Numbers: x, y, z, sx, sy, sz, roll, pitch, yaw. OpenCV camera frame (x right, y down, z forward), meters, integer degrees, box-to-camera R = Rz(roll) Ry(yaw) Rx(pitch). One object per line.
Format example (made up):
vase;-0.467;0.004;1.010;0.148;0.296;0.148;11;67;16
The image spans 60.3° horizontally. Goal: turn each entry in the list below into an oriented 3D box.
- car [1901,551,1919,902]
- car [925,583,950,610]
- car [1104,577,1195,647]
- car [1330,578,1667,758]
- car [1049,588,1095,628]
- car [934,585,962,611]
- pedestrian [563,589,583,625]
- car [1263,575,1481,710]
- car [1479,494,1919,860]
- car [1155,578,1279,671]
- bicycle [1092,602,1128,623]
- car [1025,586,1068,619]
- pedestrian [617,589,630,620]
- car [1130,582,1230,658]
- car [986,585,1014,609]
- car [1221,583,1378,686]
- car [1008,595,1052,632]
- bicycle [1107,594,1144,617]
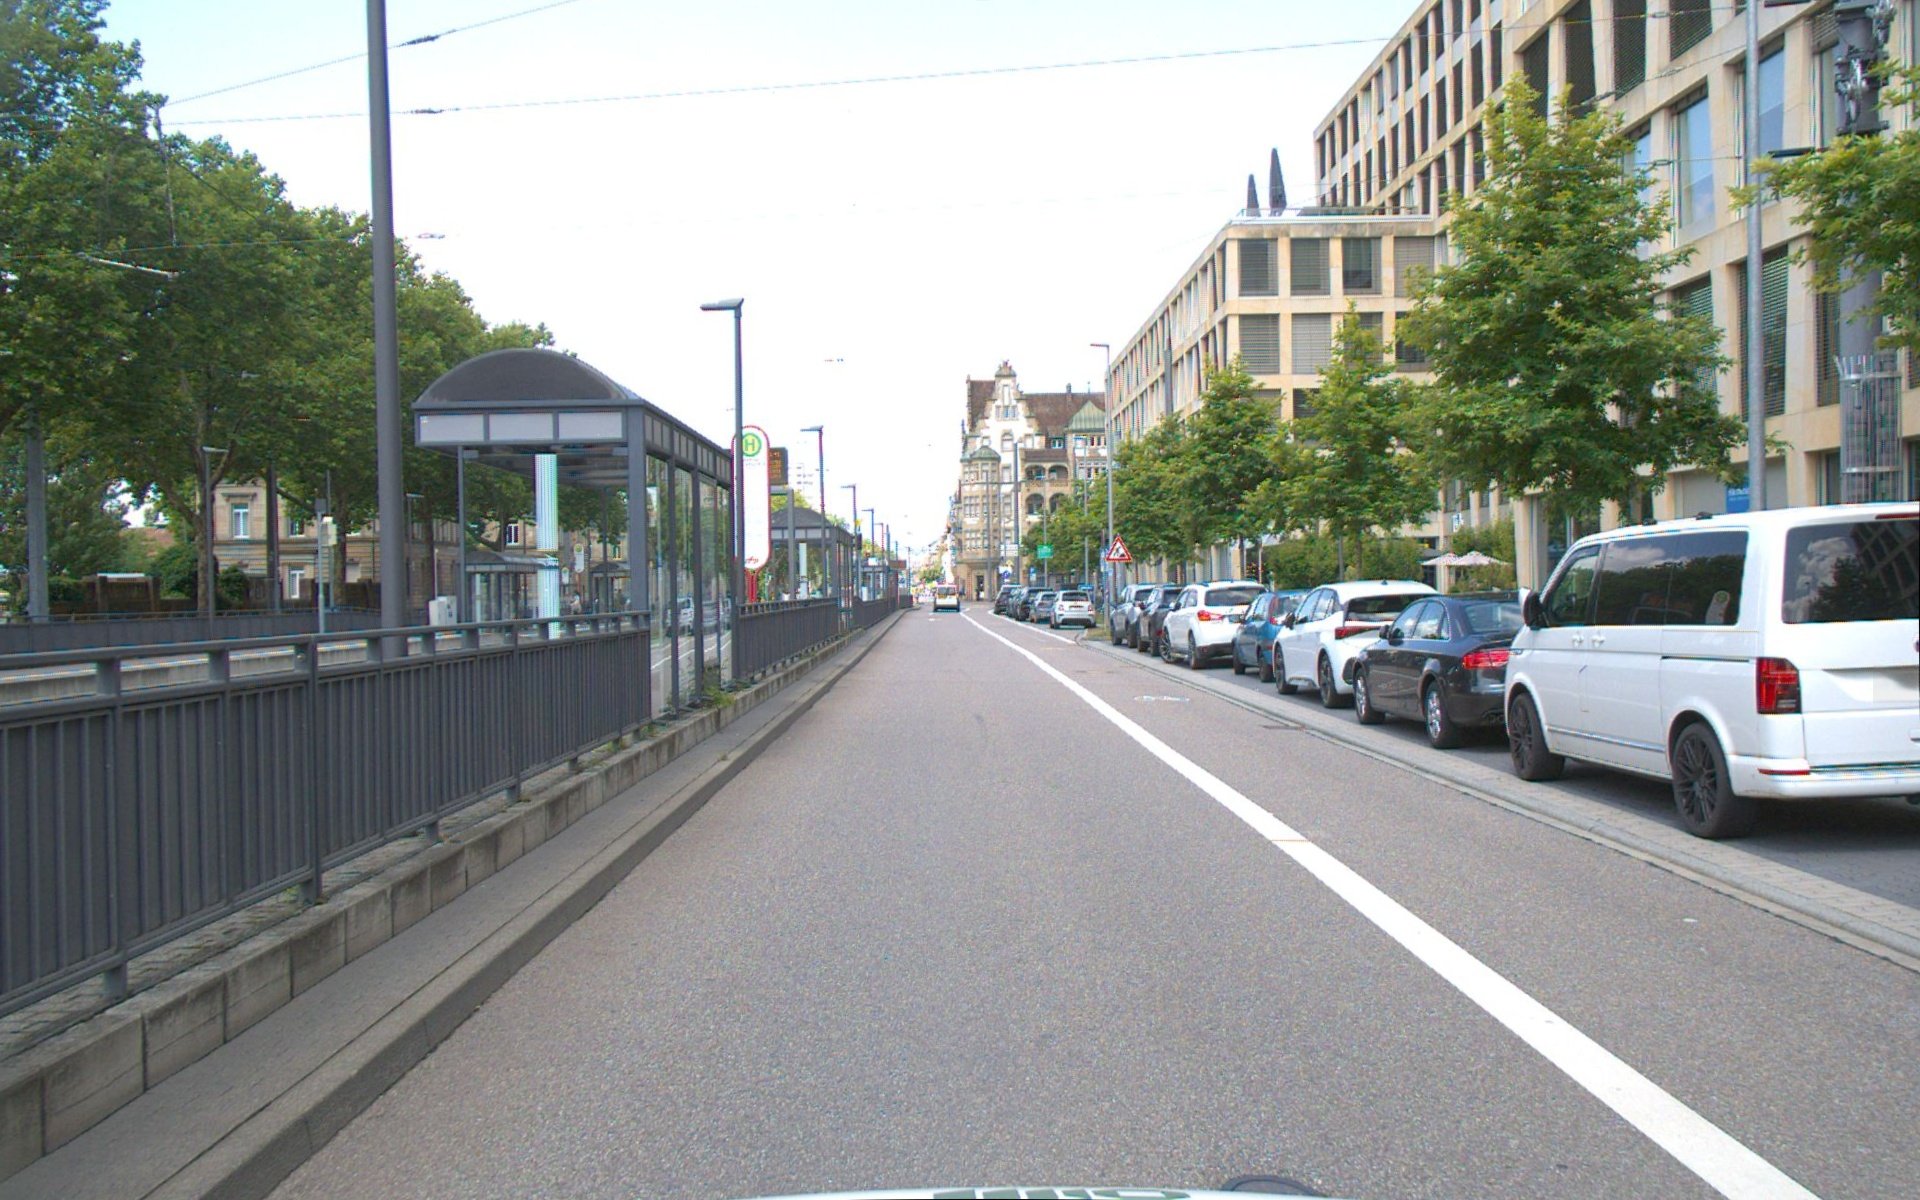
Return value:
car;5.416;0.578;5.661;1.686;1.669;4.526;-3;0;-1
car;-1.755;-0.306;127.739;1.831;2.055;3.999;0;0;-2
car;4.938;0.294;43.520;1.652;1.662;3.988;-4;0;-3
car;5.290;0.581;16.950;1.843;1.513;4.562;-2;0;-1
car;4.363;0.296;64.917;1.558;1.485;3.613;0;1;0
car;-0.826;-0.148;113.201;1.831;1.777;3.999;0;0;-2
pedestrian;-16.580;0.300;70.881;0.688;1.539;0.801;-2;0;-9
car;5.406;0.503;22.236;1.756;1.556;4.158;-3;0;-1
car;5.376;0.378;11.520;1.844;1.973;4.842;-3;0;-1
car;4.977;0.439;32.496;1.651;1.634;4.151;-3;0;-1
bicycle;7.721;0.645;84.983;1.786;1.048;0.584;-1;0;2
car;3.977;0.085;76.410;1.559;1.459;4.105;0;1;-3
pedestrian;-17.180;0.229;84.366;0.490;1.585;0.643;-1;0;-1
car;4.991;0.410;37.980;1.651;1.575;3.925;-3;0;-1
car;2.477;-0.206;103.046;1.414;1.495;4.090;0;1;-3
car;5.495;0.511;27.253;1.651;1.483;3.950;-3;0;-1
car;3.411;0.628;80.969;1.703;1.698;4.838;0;1;-3
bicycle;7.812;0.260;78.138;1.717;1.003;0.325;-2;0;-2
